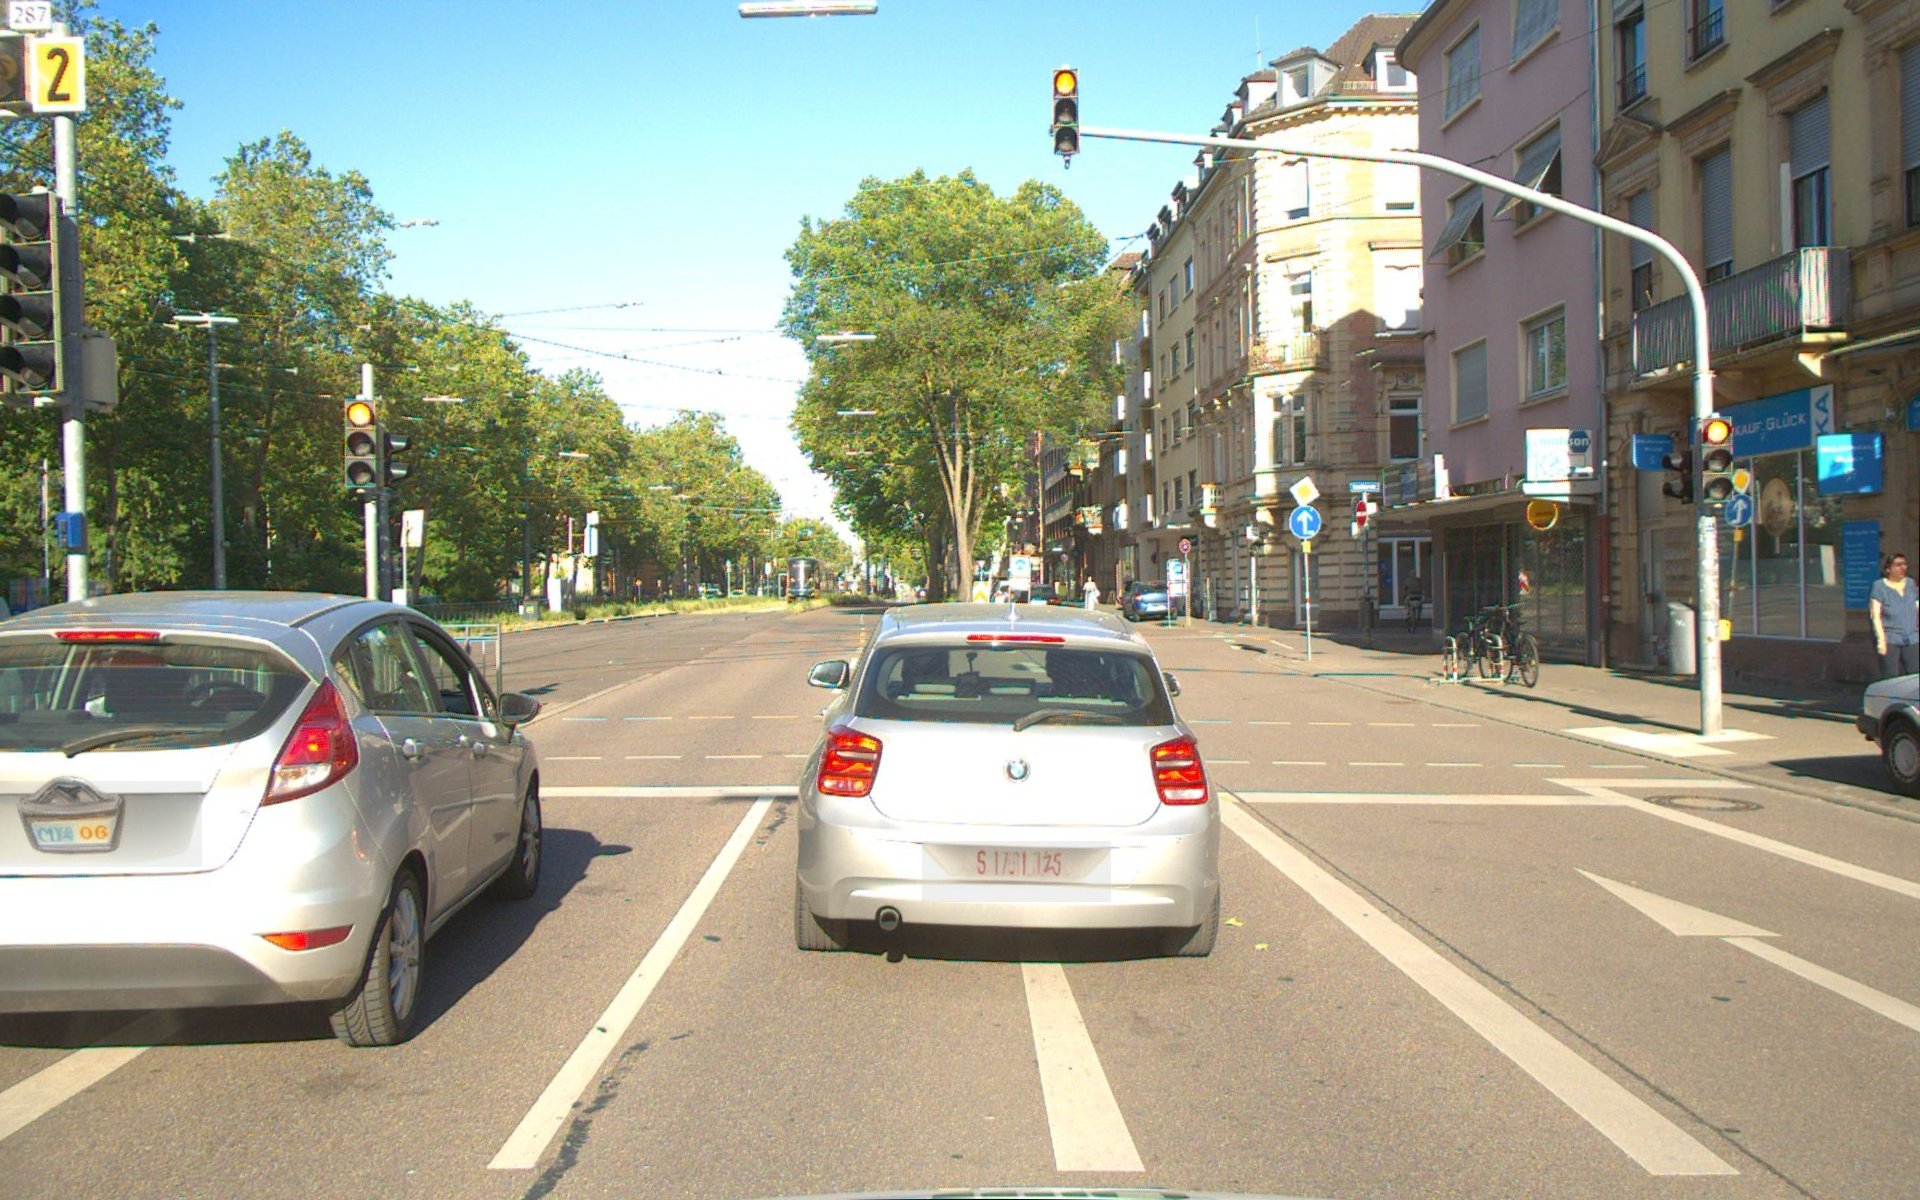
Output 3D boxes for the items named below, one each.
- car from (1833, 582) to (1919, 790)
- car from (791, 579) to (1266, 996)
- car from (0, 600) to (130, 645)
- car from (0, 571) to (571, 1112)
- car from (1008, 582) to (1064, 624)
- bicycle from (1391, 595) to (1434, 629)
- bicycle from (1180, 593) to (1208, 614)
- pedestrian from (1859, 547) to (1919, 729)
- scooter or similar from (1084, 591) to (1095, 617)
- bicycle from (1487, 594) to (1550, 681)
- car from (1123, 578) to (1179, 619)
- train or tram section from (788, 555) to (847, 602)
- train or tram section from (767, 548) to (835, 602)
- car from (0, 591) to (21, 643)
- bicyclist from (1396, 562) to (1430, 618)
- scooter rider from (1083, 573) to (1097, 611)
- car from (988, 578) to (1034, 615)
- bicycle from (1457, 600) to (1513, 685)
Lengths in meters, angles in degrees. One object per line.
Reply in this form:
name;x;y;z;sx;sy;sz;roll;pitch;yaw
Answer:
car;7.614;0.599;10.853;1.531;1.440;4.003;-4;1;-1
car;0.218;0.657;7.991;1.705;1.493;3.999;1;1;-1
car;-29.387;0.721;54.359;1.897;1.372;4.847;-1;0;-2
car;-2.641;0.650;6.556;1.578;1.493;3.886;-1;1;-5
car;2.673;0.081;58.750;1.700;1.458;3.676;0;1;-2
bicycle;12.494;0.317;45.668;0.642;0.919;1.331;0;1;41
bicycle;9.175;0.144;64.960;0.739;0.784;1.944;-1;1;-2
pedestrian;9.124;0.360;16.080;0.538;1.738;0.388;-1;0;2
scooter or similar;5.286;0.162;67.555;0.330;1.005;1.285;-1;1;10
bicycle;8.088;0.524;24.000;0.439;1.179;1.759;-1;1;5
car;7.418;-0.083;64.512;1.700;1.546;3.635;0;1;-2
train or tram section;-12.619;-1.921;147.941;3.924;3.933;17.486;-1;1;-1
train or tram section;-12.378;-1.943;130.546;3.888;3.933;17.486;-1;1;-1
car;-29.363;0.528;48.287;1.636;1.536;4.143;-1;1;-2
bicyclist;12.530;-0.271;45.705;0.538;1.528;0.956;-1;1;40
scooter rider;5.314;-0.313;67.551;0.455;1.531;0.811;-1;0;10
car;2.148;-0.176;69.896;1.690;1.533;3.553;0;1;-2
bicycle;7.599;0.591;23.997;0.405;1.160;1.811;0;1;5
